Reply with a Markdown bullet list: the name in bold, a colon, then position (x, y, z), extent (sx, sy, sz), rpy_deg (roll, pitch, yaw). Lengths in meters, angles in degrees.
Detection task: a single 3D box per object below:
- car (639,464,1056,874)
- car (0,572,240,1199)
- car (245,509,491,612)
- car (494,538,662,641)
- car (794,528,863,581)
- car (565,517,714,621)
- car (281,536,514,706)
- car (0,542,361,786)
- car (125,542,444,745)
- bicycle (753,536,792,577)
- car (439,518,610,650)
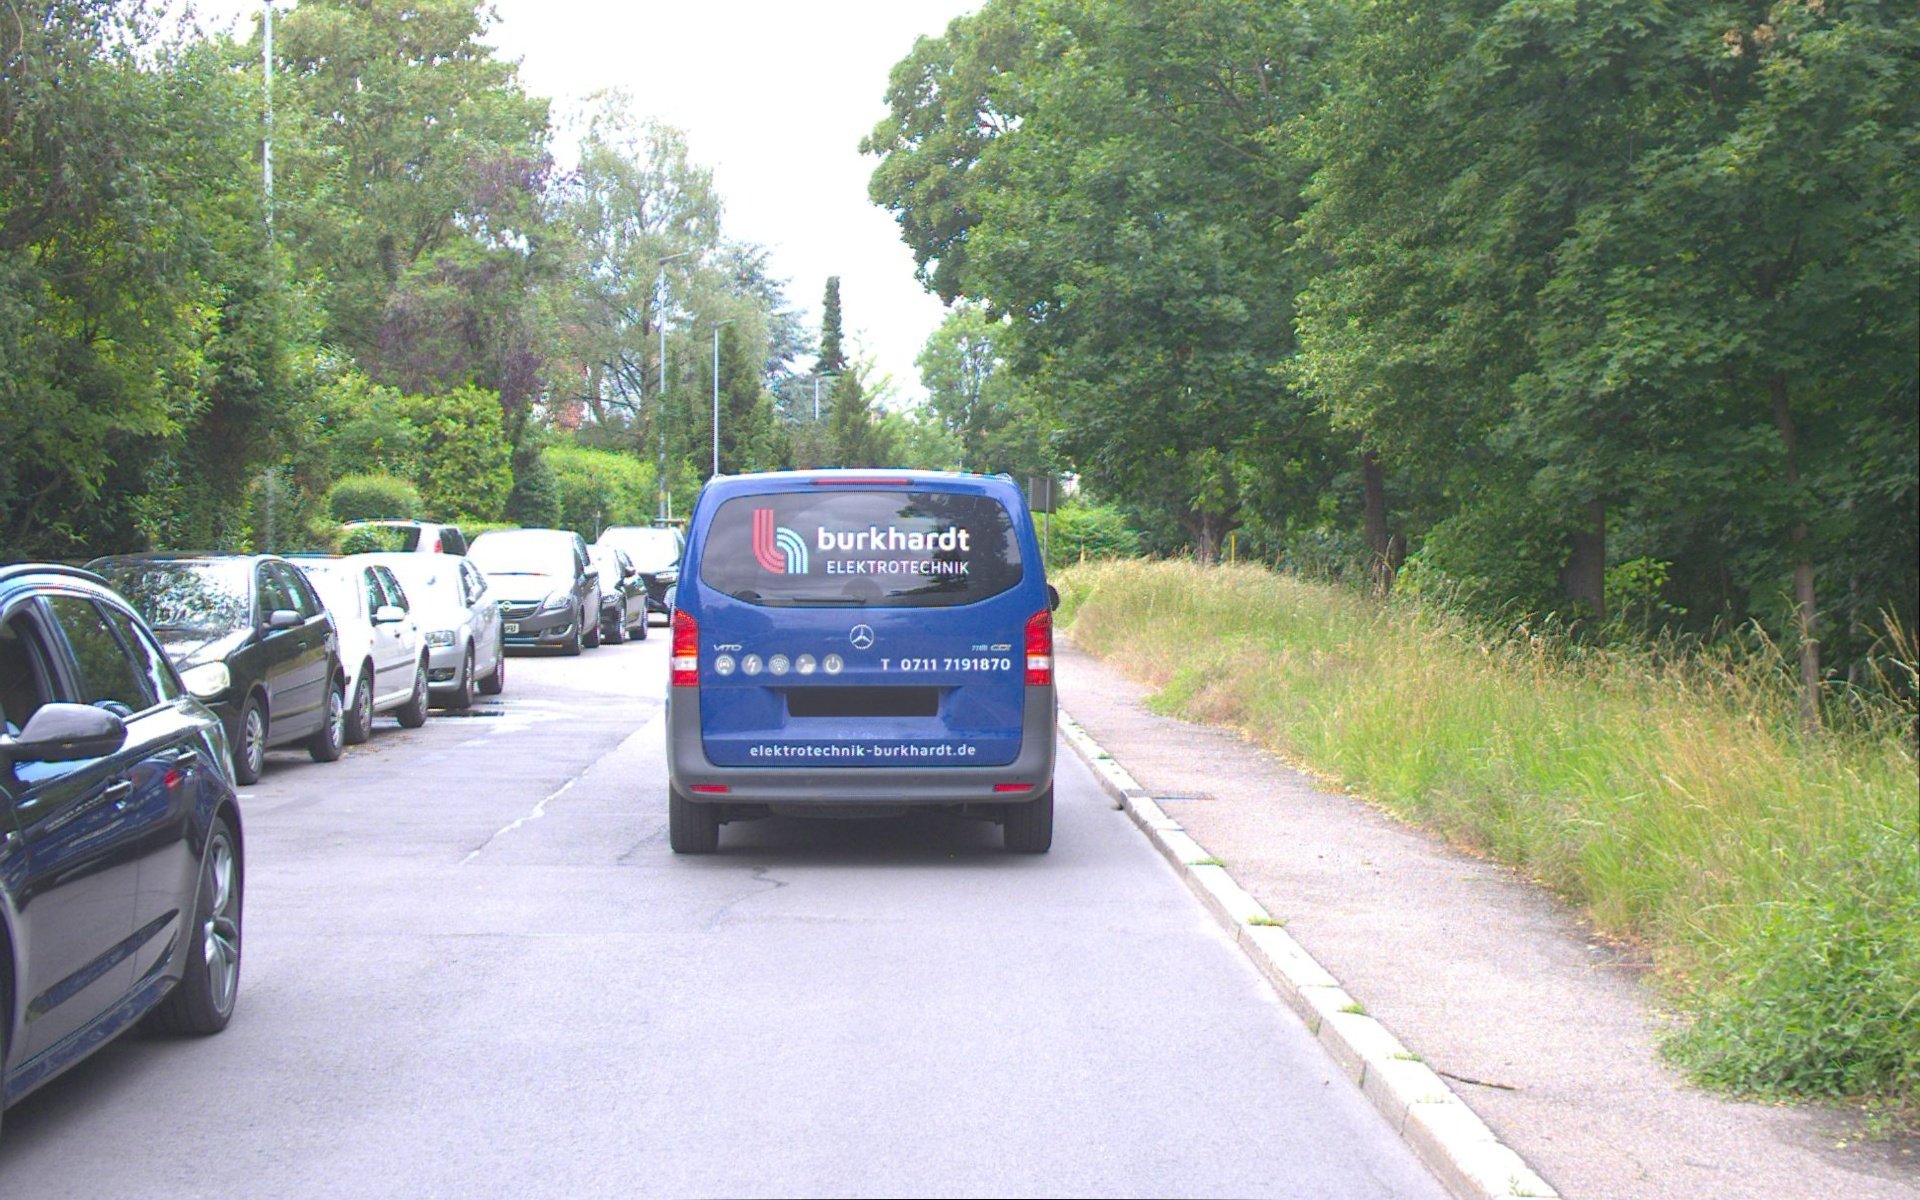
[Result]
- **car**: position (-0.644, 0.234, 17.731), extent (1.888, 1.837, 4.001), rpy_deg (-1, 3, -4)
- **car**: position (-3.118, 0.664, 8.714), extent (1.780, 1.421, 4.490), rpy_deg (0, 1, -2)
- **car**: position (-10.092, -0.682, 58.671), extent (3.694, 1.632, 1.827), rpy_deg (2, 1, 13)
- **car**: position (-5.587, -0.194, 50.835), extent (1.754, 1.408, 4.898), rpy_deg (1, 1, 2)
- **car**: position (-4.294, -1.498, 112.804), extent (1.836, 1.625, 4.300), rpy_deg (2, 1, 3)
- **car**: position (-5.686, -0.585, 61.555), extent (1.974, 1.731, 5.189), rpy_deg (1, 1, 2)
- **car**: position (-5.337, 0.155, 33.043), extent (1.623, 1.445, 4.094), rpy_deg (2, 1, -1)
- **car**: position (-5.146, 0.355, 22.662), extent (1.623, 1.445, 3.969), rpy_deg (0, 1, 1)
- **car**: position (-5.276, 0.284, 27.381), extent (1.659, 1.447, 4.382), rpy_deg (0, 1, 0)
- **bicycle**: position (-5.996, -1.394, 109.943), extent (0.906, 1.247, 2.916), rpy_deg (3, 1, 3)
- **car**: position (-5.694, -0.245, 45.382), extent (1.731, 1.627, 4.569), rpy_deg (1, 1, -1)
